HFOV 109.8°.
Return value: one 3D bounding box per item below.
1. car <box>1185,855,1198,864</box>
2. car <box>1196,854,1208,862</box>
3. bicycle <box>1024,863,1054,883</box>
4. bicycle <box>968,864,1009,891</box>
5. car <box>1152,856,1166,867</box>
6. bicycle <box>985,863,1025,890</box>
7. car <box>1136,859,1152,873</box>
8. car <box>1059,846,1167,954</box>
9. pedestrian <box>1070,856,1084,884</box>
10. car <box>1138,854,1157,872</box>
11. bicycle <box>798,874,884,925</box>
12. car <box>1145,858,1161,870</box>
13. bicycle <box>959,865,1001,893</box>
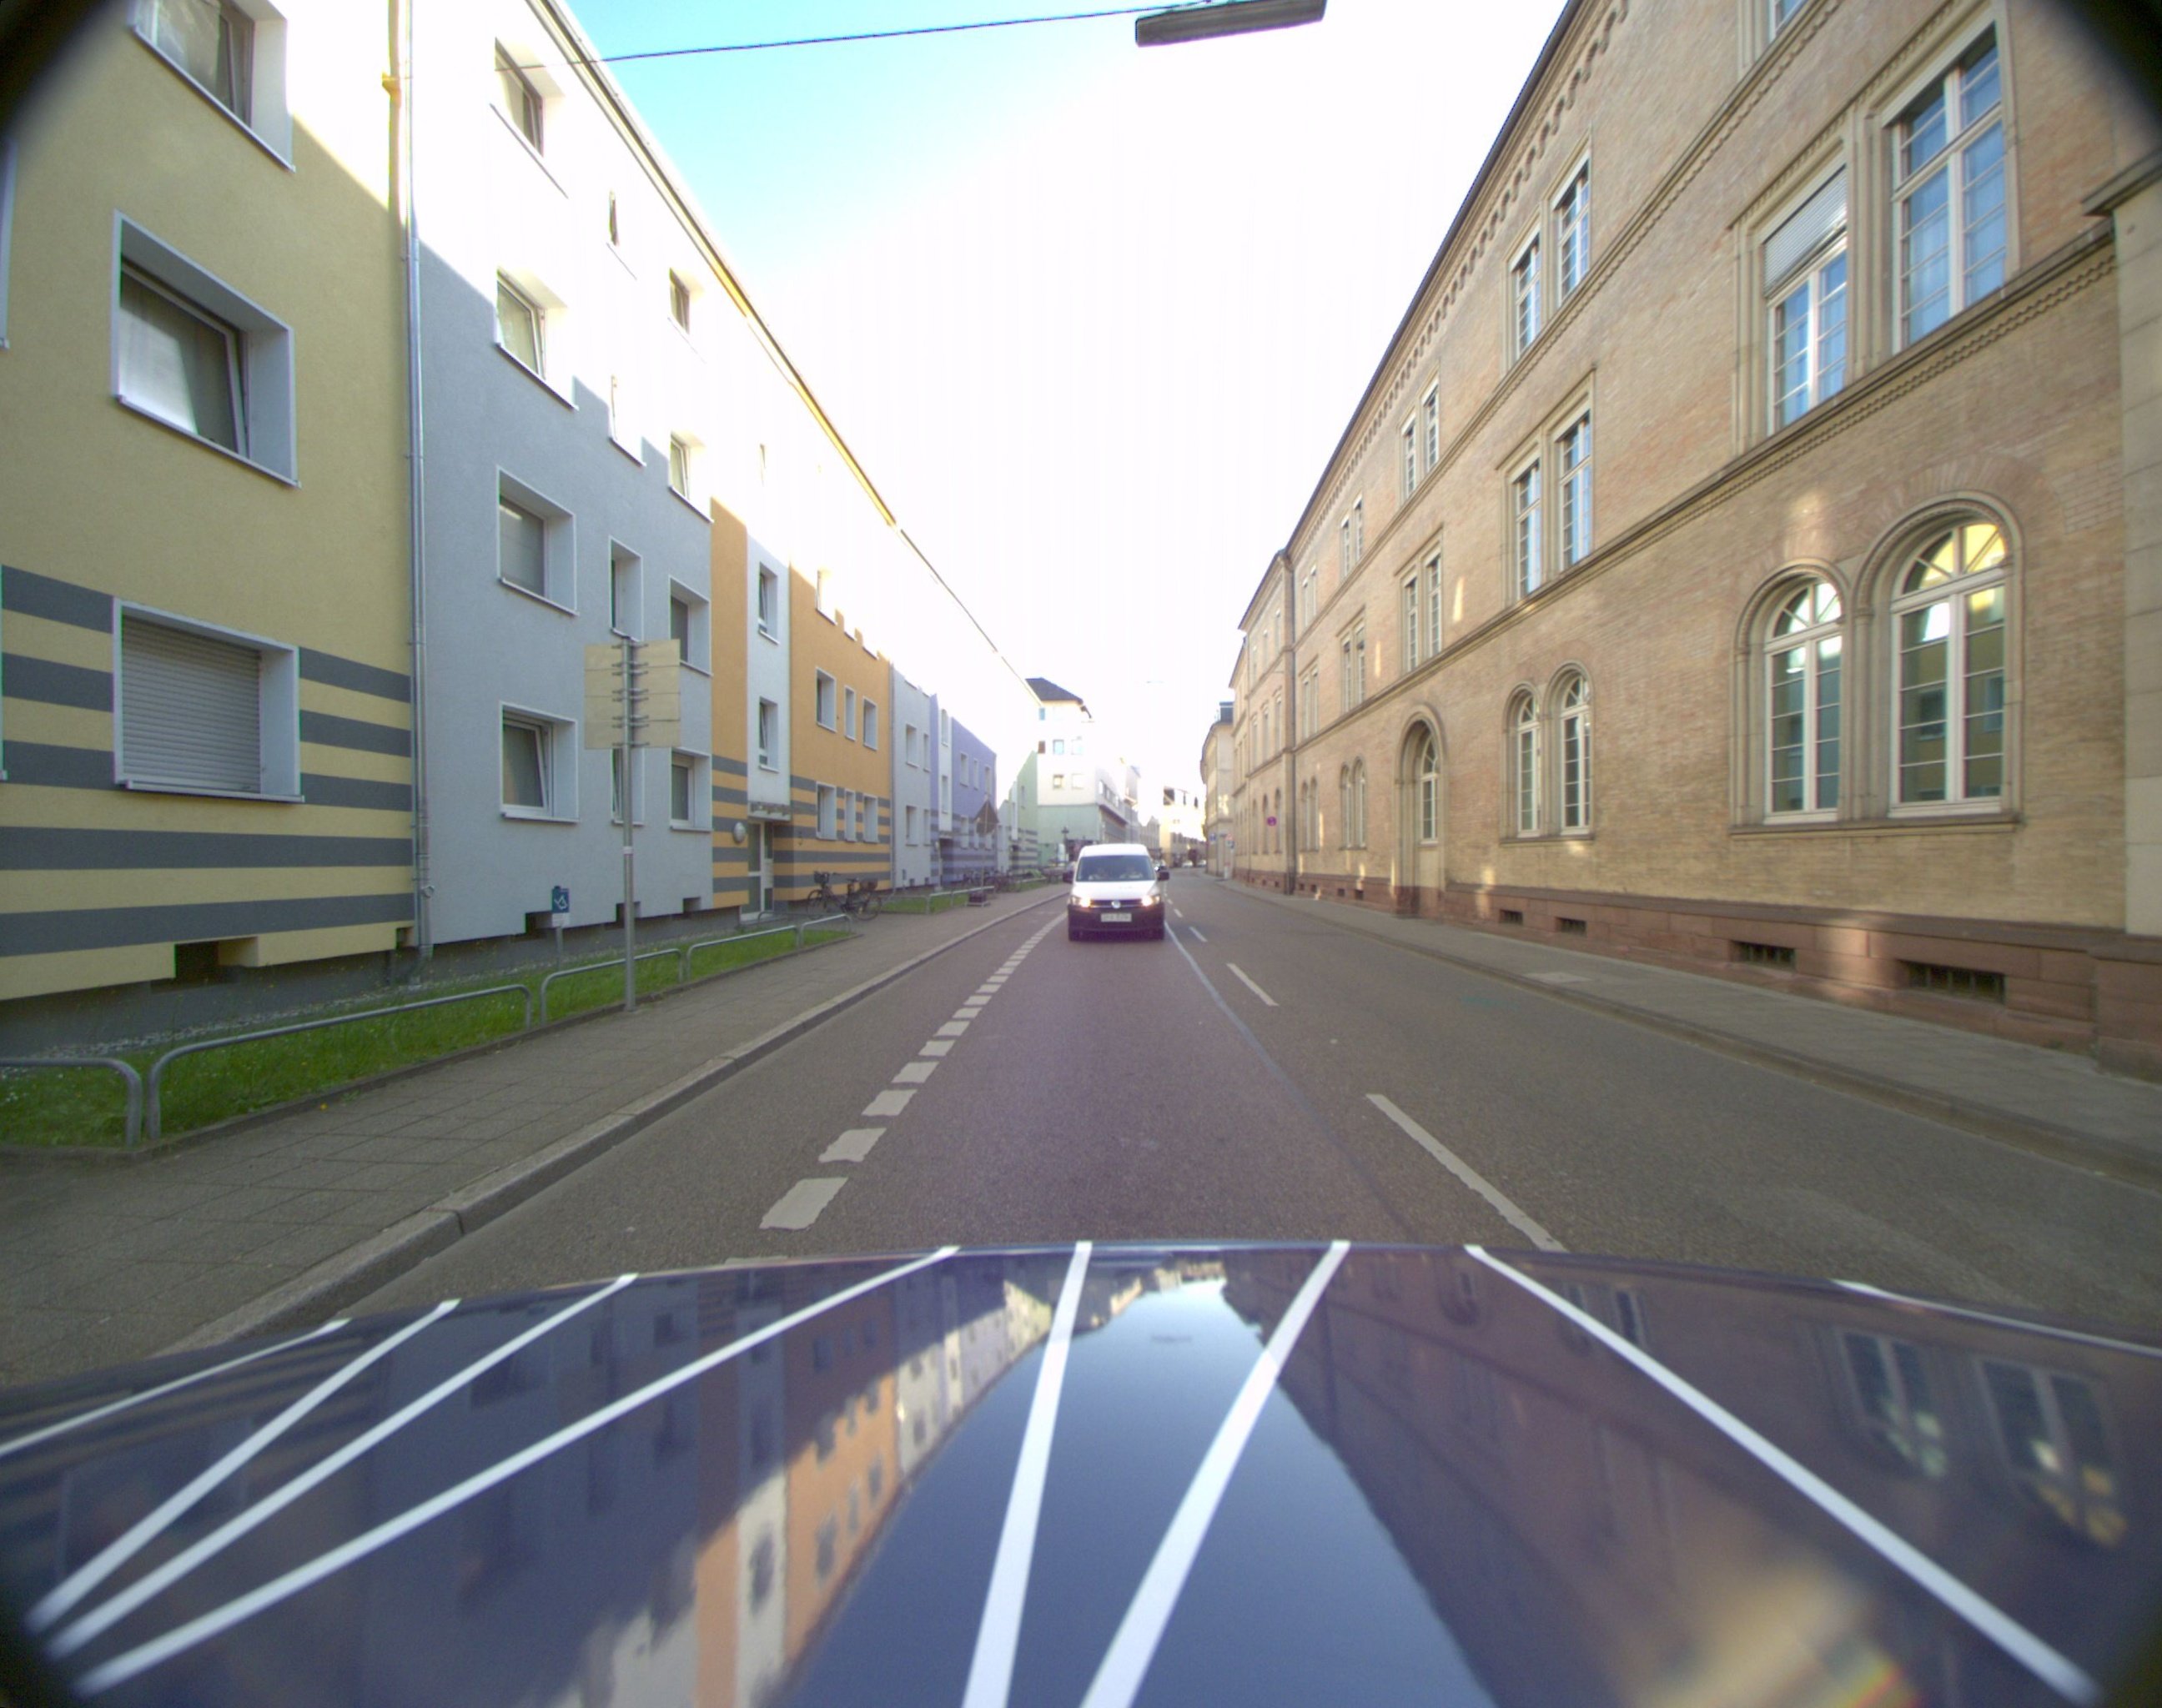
[{"bbox_3d":[22.112,1.078,152.017,1.996,1.643,4.233,-2,1,17],"label":"car"},{"bbox_3d":[26.095,0.794,163.748,1.996,1.643,4.233,-2,1,17],"label":"car"},{"bbox_3d":[-2.514,1.150,46.047,1.779,1.145,0.484,0,0,0],"label":"bicycle"},{"bbox_3d":[-4.030,1.018,33.130,1.676,1.145,0.484,0,0,4],"label":"bicycle"},{"bbox_3d":[12.650,1.186,122.696,1.997,1.643,4.231,-2,1,9],"label":"car"},{"bbox_3d":[-3.371,1.001,33.676,1.676,1.145,0.484,0,0,4],"label":"bicycle"},{"bbox_3d":[8.381,1.596,100.949,1.998,1.643,4.230,-2,1,6],"label":"car"},{"bbox_3d":[0.617,0.736,15.202,1.769,1.761,5.331,-1,1,2],"label":"car"},{"bbox_3d":[-0.230,0.981,46.941,0.705,1.627,0.833,2,2,5],"label":"pedestrian"},{"bbox_3d":[9.416,1.237,107.084,2.103,2.264,5.506,-2,1,11],"label":"car"},{"bbox_3d":[-5.384,1.013,17.100,1.780,1.116,0.484,0,0,-5],"label":"bicycle"},{"bbox_3d":[10.679,1.430,112.997,1.997,1.643,4.231,-2,1,10],"label":"car"},{"bbox_3d":[-4.234,1.045,31.837,1.676,1.145,0.484,0,0,4],"label":"bicycle"}]
